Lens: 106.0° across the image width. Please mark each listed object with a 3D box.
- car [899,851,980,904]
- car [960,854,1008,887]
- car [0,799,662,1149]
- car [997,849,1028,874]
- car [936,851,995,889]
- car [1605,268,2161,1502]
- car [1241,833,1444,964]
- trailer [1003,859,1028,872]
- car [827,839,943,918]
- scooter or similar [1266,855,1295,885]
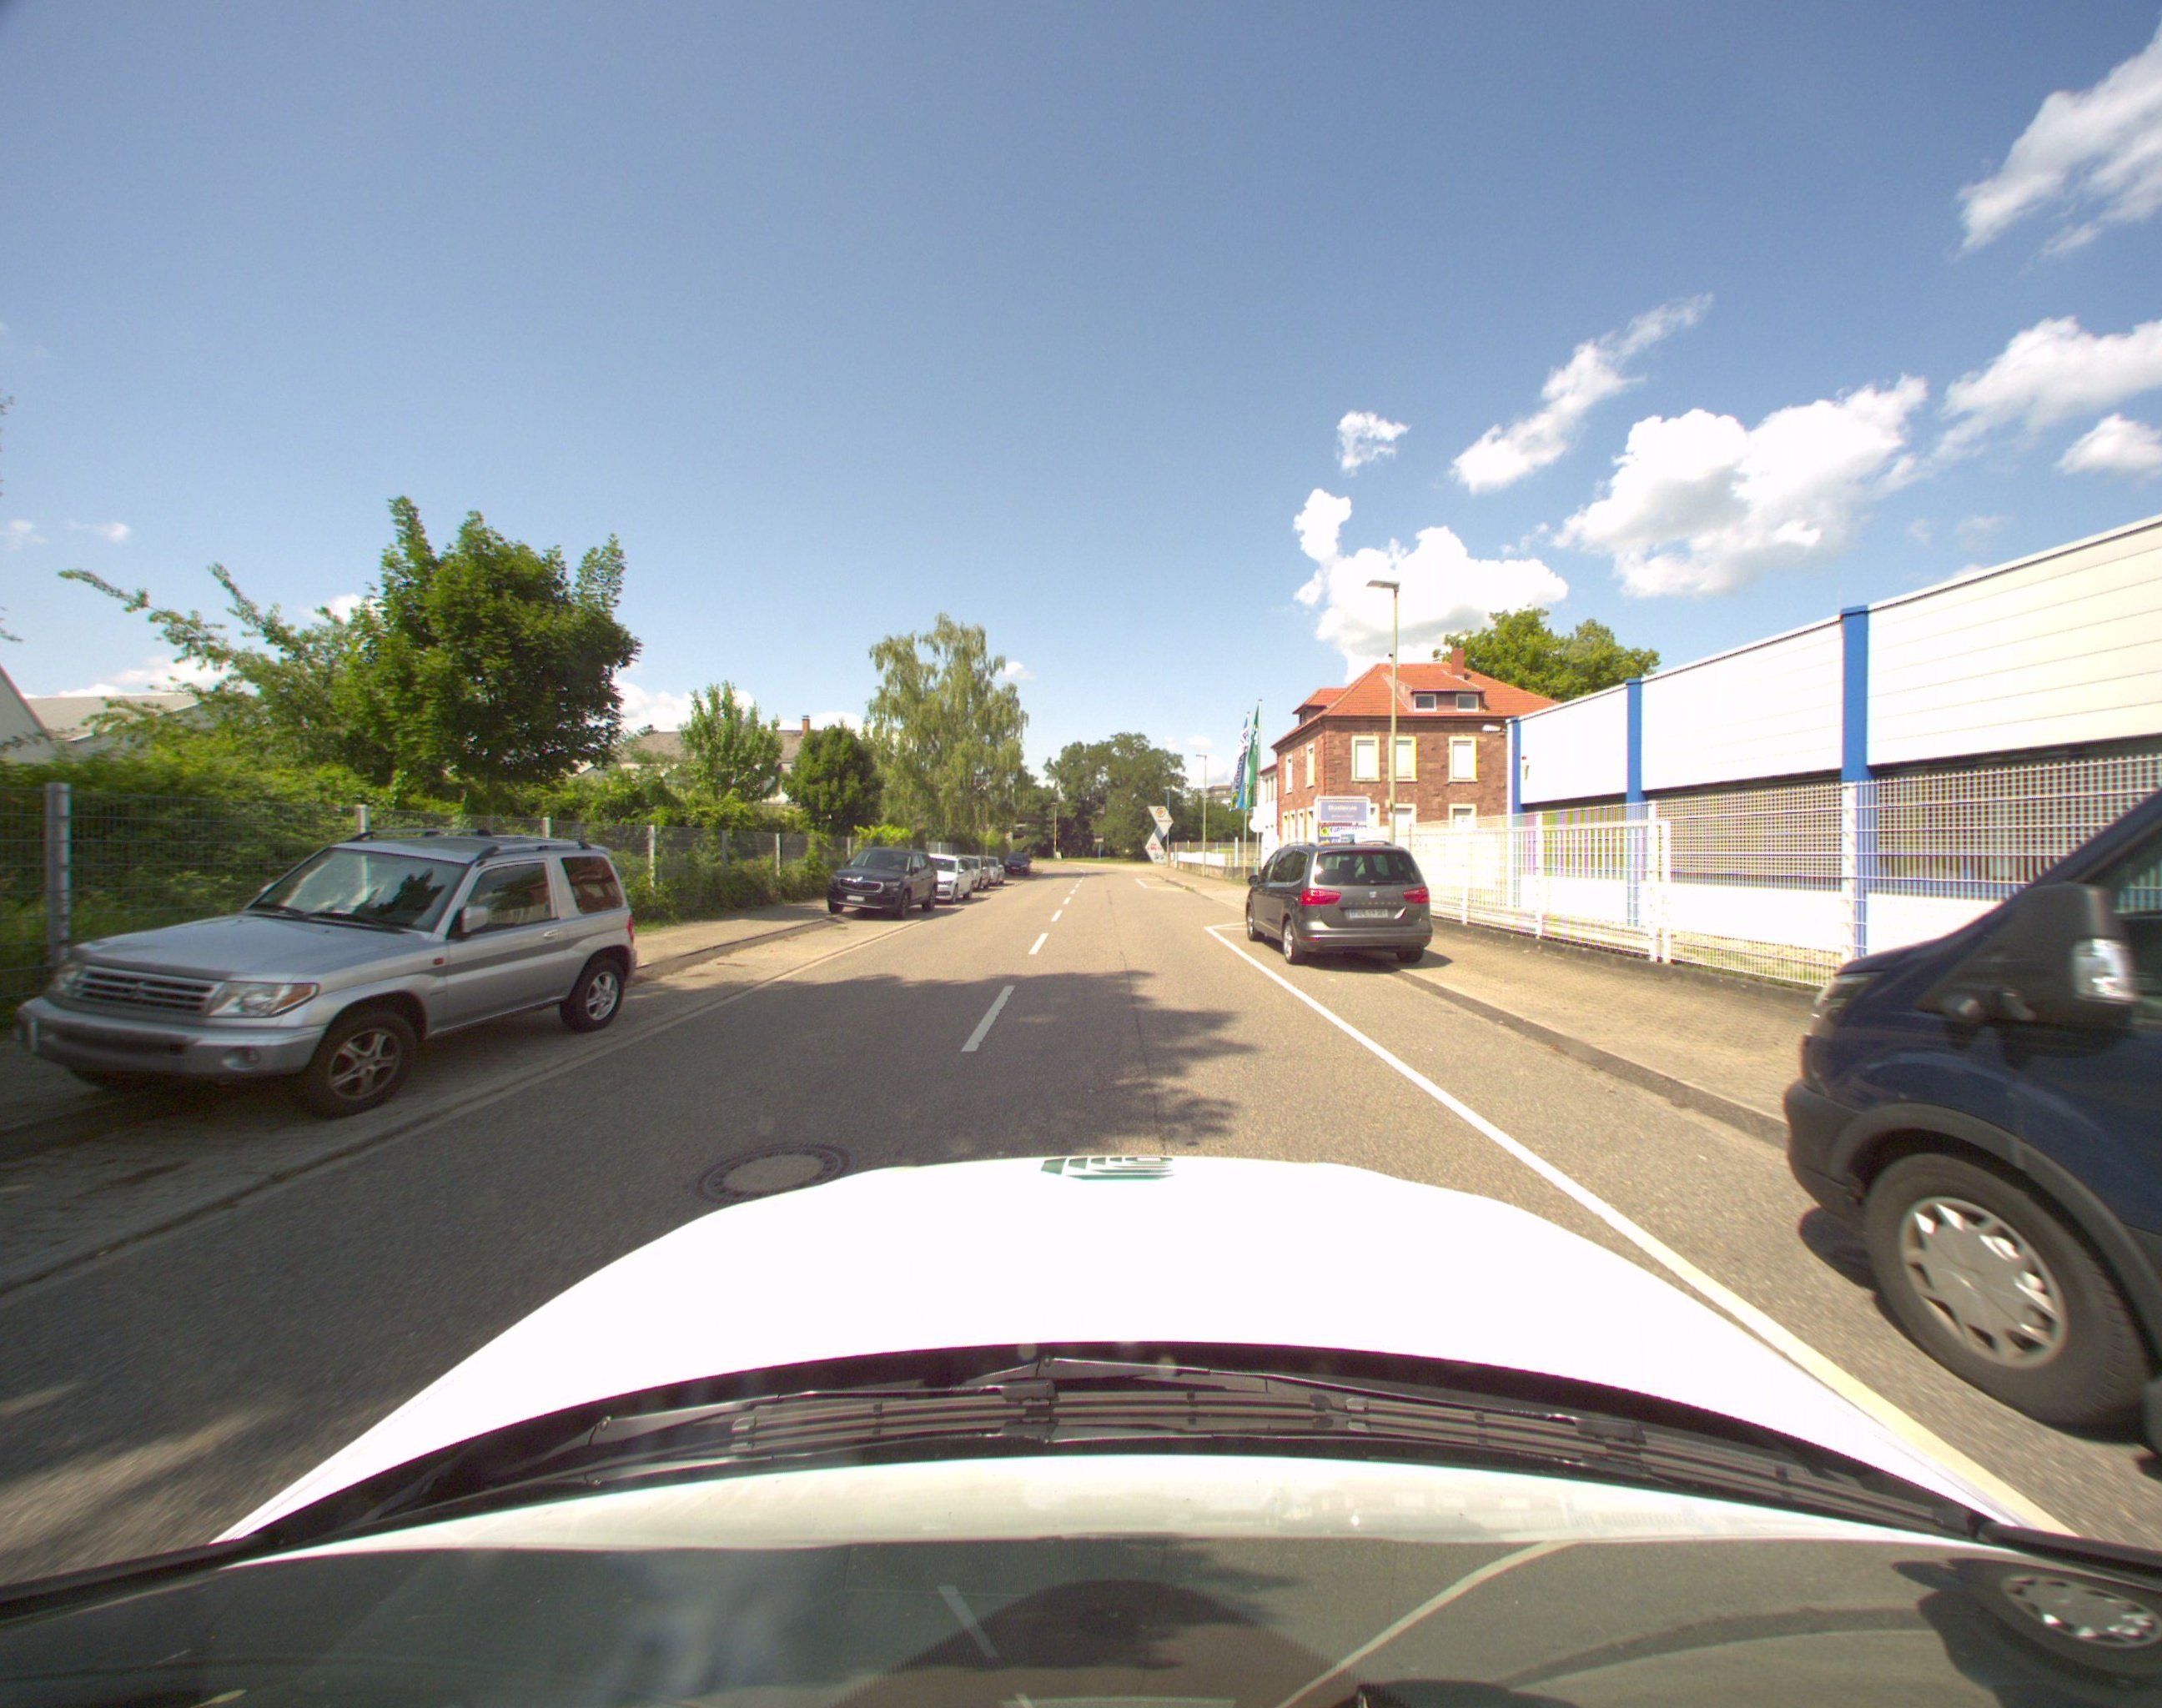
[{"bbox_3d":[-4.599,0.694,27.162,1.693,1.595,4.790,0,0,2],"label":"car"},{"bbox_3d":[-4.875,0.785,41.509,1.718,1.477,4.631,4,0,0],"label":"car"},{"bbox_3d":[-5.239,0.631,6.343,1.693,1.802,3.830,4,0,3],"label":"car"},{"bbox_3d":[-4.630,0.516,55.715,1.677,1.512,4.157,4,0,0],"label":"car"},{"bbox_3d":[-4.962,0.657,35.629,1.788,1.527,4.660,0,0,1],"label":"car"},{"bbox_3d":[3.350,0.073,0.696,1.931,2.748,6.156,-1,0,1],"label":"car"},{"bbox_3d":[3.803,0.562,12.731,1.818,1.664,4.558,-1,0,2],"label":"car"},{"bbox_3d":[-4.787,0.820,59.592,1.459,0.851,2.468,4,0,2],"label":"trailer"},{"bbox_3d":[-4.868,0.537,20.929,1.604,1.745,4.639,2,0,3],"label":"car"},{"bbox_3d":[8.280,0.664,33.765,1.136,1.245,0.260,-1,0,19],"label":"scooter or similar"}]
